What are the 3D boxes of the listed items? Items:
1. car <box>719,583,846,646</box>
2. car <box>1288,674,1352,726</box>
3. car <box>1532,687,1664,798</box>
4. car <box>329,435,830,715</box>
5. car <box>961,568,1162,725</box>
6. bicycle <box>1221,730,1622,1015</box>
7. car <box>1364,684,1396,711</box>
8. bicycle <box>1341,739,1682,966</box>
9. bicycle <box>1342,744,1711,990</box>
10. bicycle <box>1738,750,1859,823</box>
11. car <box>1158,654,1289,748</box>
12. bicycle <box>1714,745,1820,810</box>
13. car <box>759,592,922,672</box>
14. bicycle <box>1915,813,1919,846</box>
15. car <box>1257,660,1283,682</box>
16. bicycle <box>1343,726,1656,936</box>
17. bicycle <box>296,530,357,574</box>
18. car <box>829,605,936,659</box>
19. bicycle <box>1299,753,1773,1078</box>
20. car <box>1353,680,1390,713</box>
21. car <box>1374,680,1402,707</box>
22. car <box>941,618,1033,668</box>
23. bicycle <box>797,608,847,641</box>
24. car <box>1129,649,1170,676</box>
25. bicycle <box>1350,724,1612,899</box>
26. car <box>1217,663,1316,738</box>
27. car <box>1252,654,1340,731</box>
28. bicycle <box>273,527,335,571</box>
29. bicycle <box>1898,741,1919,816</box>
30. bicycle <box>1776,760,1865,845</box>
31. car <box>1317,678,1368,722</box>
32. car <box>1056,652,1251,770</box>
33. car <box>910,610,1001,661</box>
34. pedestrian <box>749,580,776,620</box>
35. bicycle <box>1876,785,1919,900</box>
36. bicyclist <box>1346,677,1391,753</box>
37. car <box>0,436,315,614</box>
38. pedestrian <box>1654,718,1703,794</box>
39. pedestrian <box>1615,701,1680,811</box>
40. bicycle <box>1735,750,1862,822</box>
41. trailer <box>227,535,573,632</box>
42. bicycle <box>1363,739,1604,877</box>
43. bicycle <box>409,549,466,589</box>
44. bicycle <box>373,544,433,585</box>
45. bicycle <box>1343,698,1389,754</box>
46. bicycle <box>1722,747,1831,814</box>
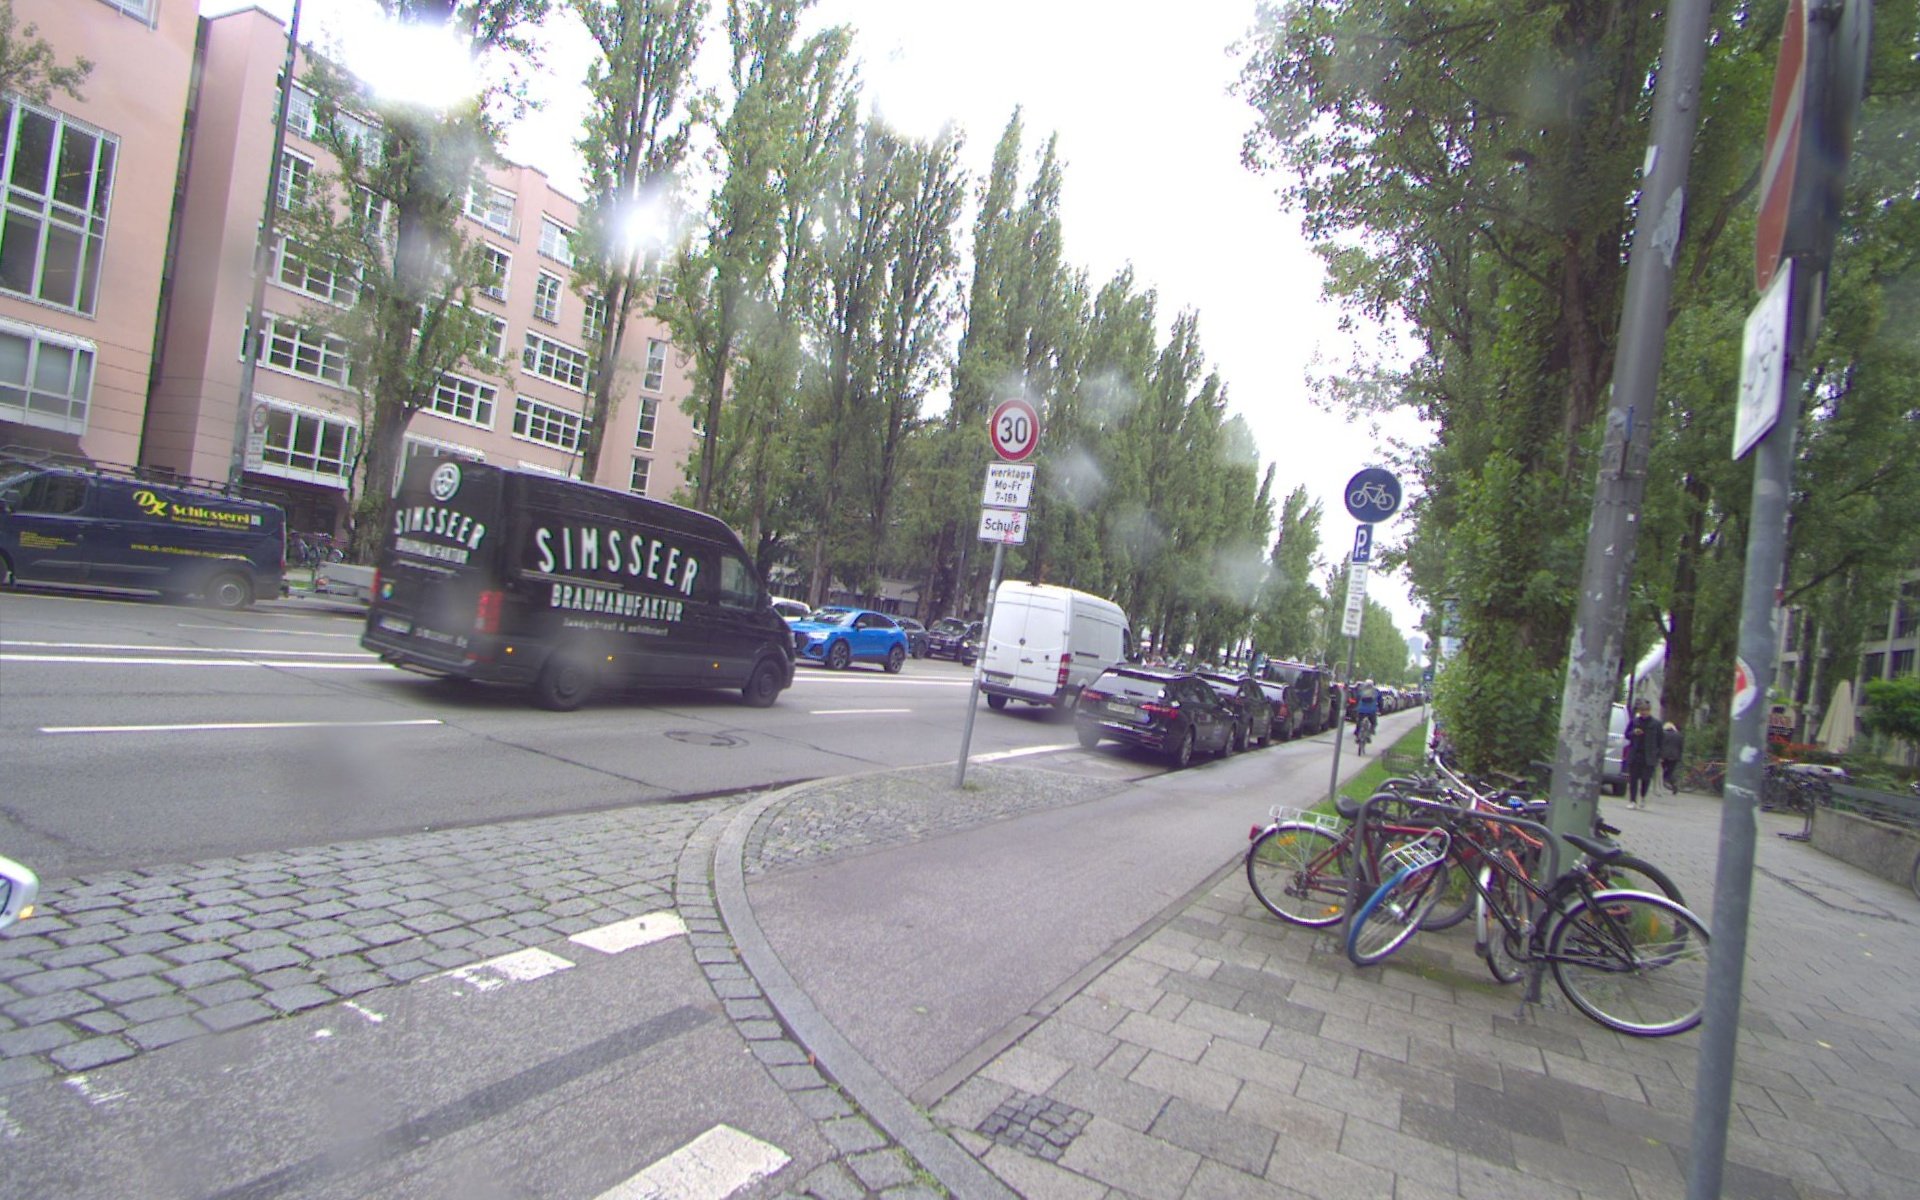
[{"bbox_3d":[-5.738,0.526,33.134,1.963,1.560,4.325,8,-1,22],"label":"car"},{"bbox_3d":[13.430,3.682,37.372,1.717,1.544,3.951,10,0,25],"label":"car"},{"bbox_3d":[14.212,3.083,22.693,1.783,1.918,5.200,8,-1,27],"label":"car"},{"bbox_3d":[-4.314,-0.082,12.857,2.045,2.586,5.929,10,0,26],"label":"car"},{"bbox_3d":[2.430,1.074,21.867,2.010,2.684,6.038,10,0,26],"label":"car"},{"bbox_3d":[2.512,1.437,5.646,1.844,1.063,0.475,9,0,28],"label":"bicycle"},{"bbox_3d":[29.131,6.751,69.773,1.717,1.564,3.951,10,0,25],"label":"car"},{"bbox_3d":[3.624,1.625,6.762,1.844,1.063,0.475,7,0,28],"label":"bicycle"},{"bbox_3d":[3.460,1.594,6.302,1.844,1.063,0.475,7,0,28],"label":"bicycle"},{"bbox_3d":[18.407,4.082,22.140,1.837,1.174,0.587,8,0,29],"label":"bicycle"},{"bbox_3d":[5.728,2.144,21.547,1.718,1.544,3.906,10,0,27],"label":"car"},{"bbox_3d":[19.808,4.348,24.731,1.837,1.173,0.587,8,0,29],"label":"bicycle"},{"bbox_3d":[-2.914,0.872,25.533,1.839,1.597,4.420,6,-2,27],"label":"car"},{"bbox_3d":[20.496,4.624,20.426,0.576,1.174,1.870,8,0,12],"label":"bicycle"},{"bbox_3d":[36.341,8.311,117.826,1.965,2.145,4.995,8,0,26],"label":"car"},{"bbox_3d":[3.970,1.665,7.550,1.896,1.118,0.513,7,0,26],"label":"bicycle"},{"bbox_3d":[-20.506,-1.552,32.553,1.954,1.138,0.675,8,0,27],"label":"bicycle"},{"bbox_3d":[-2.891,1.256,38.456,1.965,1.560,4.322,8,-1,27],"label":"car"},{"bbox_3d":[2.709,1.463,4.947,1.842,1.063,0.476,8,0,21],"label":"bicycle"},{"bbox_3d":[25.611,5.995,62.553,1.717,1.662,3.951,10,0,25],"label":"car"},{"bbox_3d":[34.250,7.493,80.475,1.717,1.808,3.951,10,0,25],"label":"car"},{"bbox_3d":[1.194,1.842,41.912,1.965,1.662,4.548,7,-1,27],"label":"car"},{"bbox_3d":[-5.830,1.035,42.513,1.954,1.138,0.675,8,0,27],"label":"bicycle"},{"bbox_3d":[13.619,4.511,72.294,1.736,1.597,3.970,8,-1,26],"label":"car"},{"bbox_3d":[4.334,1.718,8.459,1.803,1.051,0.512,7,0,32],"label":"bicycle"},{"bbox_3d":[8.274,2.652,26.876,1.717,1.544,4.233,10,-1,26],"label":"car"},{"bbox_3d":[10.819,2.935,32.132,1.882,1.947,5.039,10,0,25],"label":"car"},{"bbox_3d":[-20.811,-1.617,31.889,1.954,1.138,0.675,8,0,27],"label":"bicycle"},{"bbox_3d":[15.764,2.923,16.030,0.577,1.173,1.868,8,-1,27],"label":"bicycle"},{"bbox_3d":[14.719,3.430,17.262,0.577,1.173,1.983,8,-1,27],"label":"bicycle"},{"bbox_3d":[17.605,4.565,46.235,1.717,1.610,3.951,10,0,25],"label":"car"},{"bbox_3d":[3.408,1.842,16.946,1.726,1.444,4.444,10,-1,30],"label":"car"},{"bbox_3d":[-0.109,1.626,44.733,1.964,1.818,4.760,8,-1,26],"label":"car"},{"bbox_3d":[-9.029,0.001,46.107,0.697,1.734,0.731,8,0,27],"label":"pedestrian"},{"bbox_3d":[10.848,2.737,10.847,0.577,1.173,1.870,8,-1,18],"label":"bicycle"},{"bbox_3d":[9.422,2.646,23.209,0.712,1.639,0.755,6,0,30],"label":"bicyclist"},{"bbox_3d":[-13.875,-1.202,16.151,1.988,2.223,5.494,8,-1,26],"label":"car"},{"bbox_3d":[16.829,3.639,23.590,0.686,1.625,0.832,8,0,31],"label":"pedestrian"},{"bbox_3d":[12.557,2.823,18.396,0.688,1.863,0.705,8,0,29],"label":"pedestrian"},{"bbox_3d":[18.807,4.153,22.619,1.997,1.174,0.587,8,0,29],"label":"bicycle"},{"bbox_3d":[-11.480,-0.243,21.276,2.362,1.213,6.035,8,-1,27],"label":"trailer"},{"bbox_3d":[4.672,1.826,9.062,1.803,0.827,0.471,7,0,32],"label":"bicycle"},{"bbox_3d":[-18.526,-1.098,35.682,1.954,1.138,0.675,8,0,27],"label":"bicycle"},{"bbox_3d":[-19.323,-1.223,34.874,2.070,1.138,0.675,8,0,27],"label":"bicycle"},{"bbox_3d":[9.404,2.909,23.249,0.707,1.160,1.900,5,-3,28],"label":"bicycle"},{"bbox_3d":[19.570,4.311,24.160,1.837,1.174,0.587,9,1,29],"label":"bicycle"}]
